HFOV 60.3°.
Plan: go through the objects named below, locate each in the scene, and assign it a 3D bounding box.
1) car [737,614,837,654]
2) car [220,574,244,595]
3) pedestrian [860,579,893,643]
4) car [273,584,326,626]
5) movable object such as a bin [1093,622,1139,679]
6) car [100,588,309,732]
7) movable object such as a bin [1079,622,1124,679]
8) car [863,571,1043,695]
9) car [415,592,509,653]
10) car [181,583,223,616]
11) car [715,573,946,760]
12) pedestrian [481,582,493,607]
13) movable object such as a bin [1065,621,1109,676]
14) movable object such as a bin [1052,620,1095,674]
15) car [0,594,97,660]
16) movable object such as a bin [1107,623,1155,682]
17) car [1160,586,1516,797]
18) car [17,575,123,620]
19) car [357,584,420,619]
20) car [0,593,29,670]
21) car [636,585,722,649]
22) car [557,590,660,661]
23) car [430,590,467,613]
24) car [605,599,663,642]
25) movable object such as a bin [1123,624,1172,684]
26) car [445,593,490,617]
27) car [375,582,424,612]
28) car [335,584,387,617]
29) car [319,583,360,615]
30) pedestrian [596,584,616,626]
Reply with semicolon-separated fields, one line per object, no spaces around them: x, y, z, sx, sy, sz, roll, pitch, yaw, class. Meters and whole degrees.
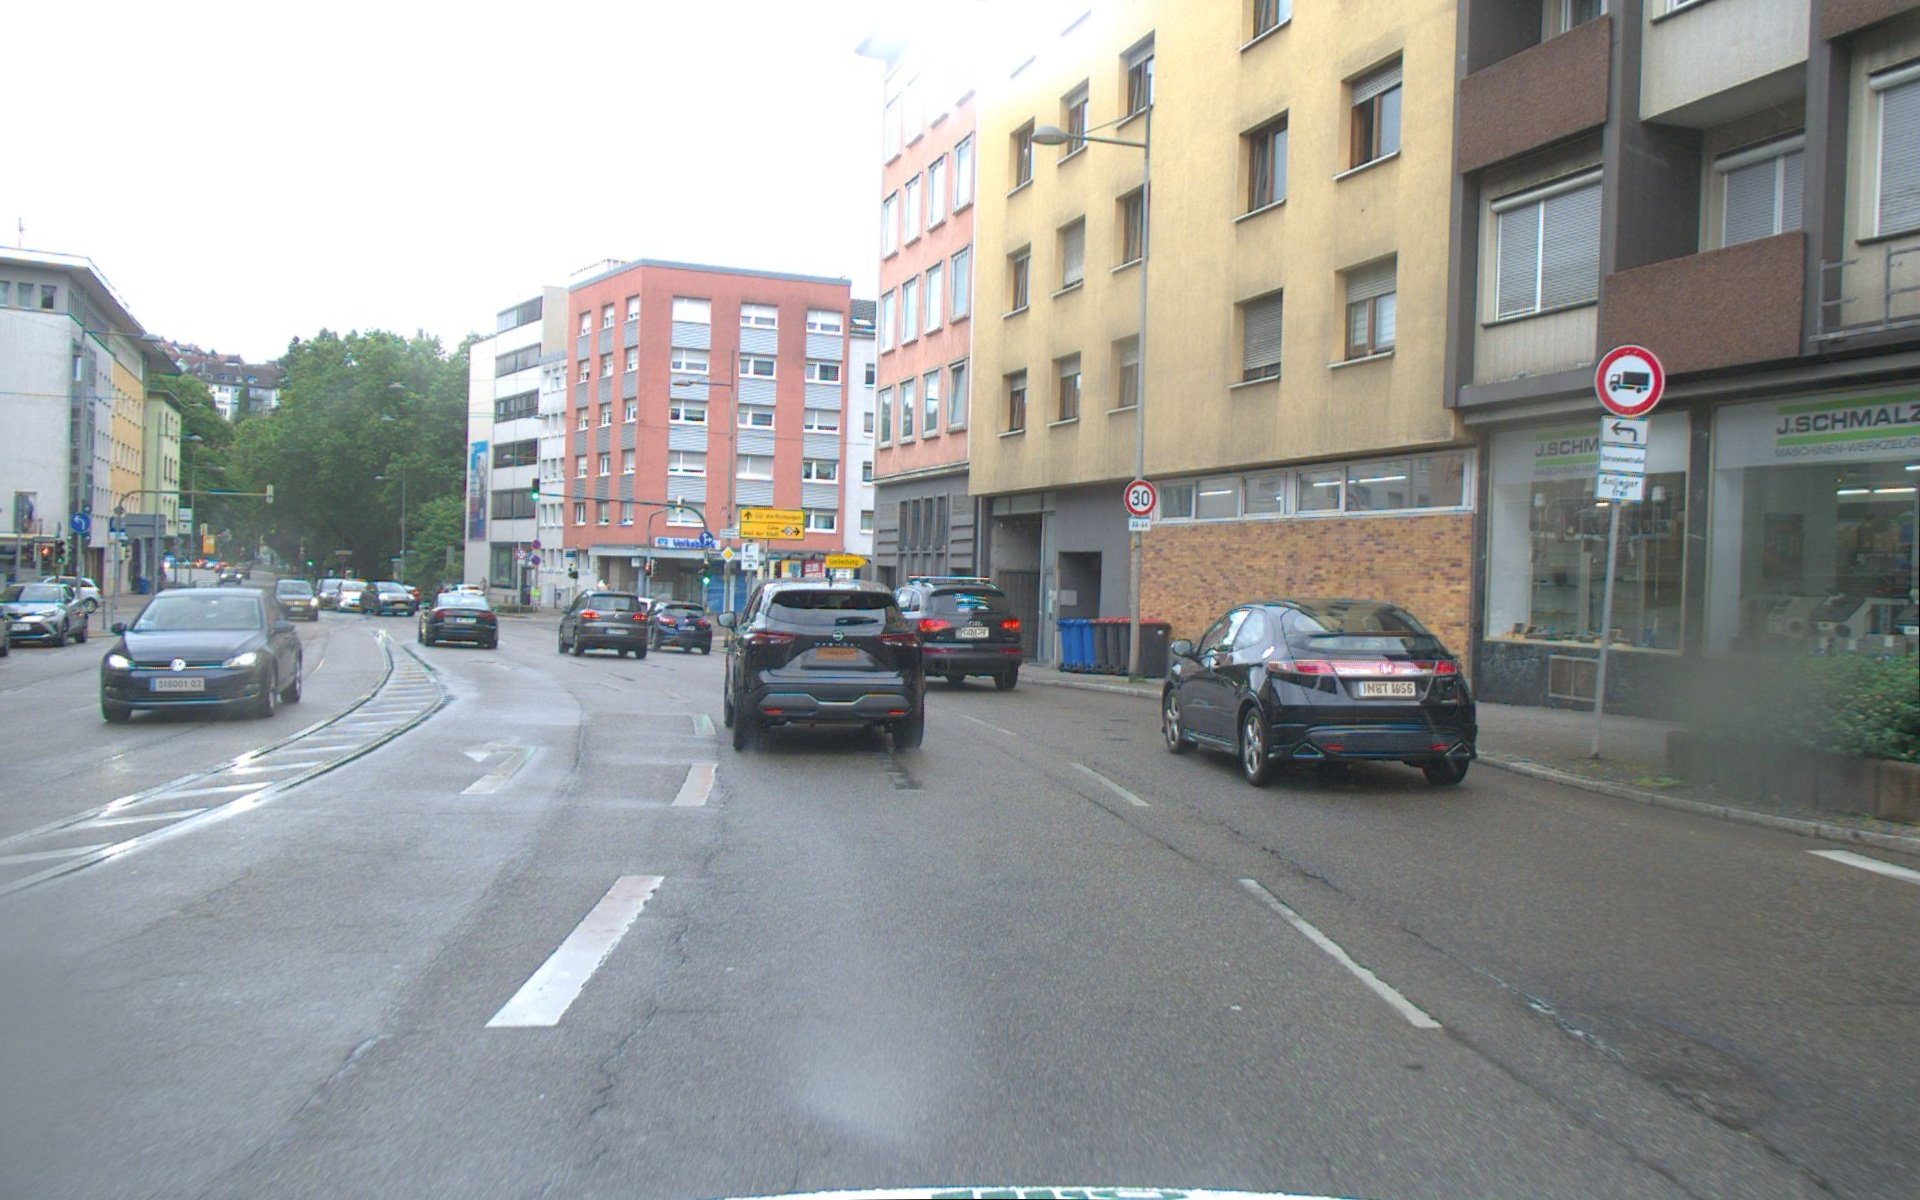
-7.751;1.520;74.003;3.947;1.545;1.979;4;-1;-31;car
-72.388;-1.554;164.508;1.966;1.892;3.973;4;0;-23;car
-2.433;0.324;48.007;0.662;1.819;1.090;2;0;-18;pedestrian
-27.526;0.206;68.864;1.838;1.676;4.221;0;0;-24;car
3.047;0.984;32.325;0.671;1.095;0.664;2;-1;-21;movable object such as a bin
-8.841;0.625;19.653;1.656;1.498;3.982;-1;1;-16;car
2.815;1.000;32.962;0.671;1.095;0.664;2;-1;-21;movable object such as a bin
-0.238;0.491;27.965;1.987;1.902;4.882;0;0;-14;car
-13.644;0.579;45.122;1.966;1.412;4.469;4;0;-22;car
-39.053;-0.042;85.310;1.668;1.655;3.975;0;0;-21;car
-1.439;0.581;16.756;1.861;1.657;3.989;0;0;-12;car
-32.941;-0.375;115.121;0.607;1.767;0.673;0;1;-35;pedestrian
2.579;0.980;33.600;0.671;1.095;0.664;2;-1;-21;movable object such as a bin
2.350;0.978;34.260;0.671;1.095;0.664;2;-1;-21;movable object such as a bin
-23.248;0.644;41.727;1.879;1.581;4.605;0;0;-19;car
3.275;1.007;31.680;0.671;1.095;0.664;2;-1;-21;movable object such as a bin
3.031;0.658;14.170;1.749;1.523;4.051;0;1;-6;car
-38.452;-0.094;71.562;1.646;1.735;4.002;3;0;17;car
-27.061;0.060;78.244;1.840;1.580;4.177;1;0;-34;car
-20.713;0.610;34.255;1.967;1.503;4.486;1;0;-23;car
-8.622;0.485;50.580;1.917;1.848;3.976;0;0;-20;car
-9.015;0.607;42.219;1.919;1.714;3.973;0;0;-22;car
-34.635;0.080;111.939;1.694;1.467;4.046;0;1;-27;car
-12.707;0.772;64.637;1.957;1.512;3.992;4;0;-9;car
3.514;1.007;31.040;0.671;1.095;0.664;2;-1;-21;movable object such as a bin
-31.671;0.318;106.221;1.756;1.425;4.533;0;1;-30;car
-31.927;-0.184;94.198;1.970;1.556;3.964;4;0;-28;car
-30.021;0.026;82.803;1.912;1.553;4.097;1;-1;-28;car
-33.015;-0.031;87.911;1.796;1.636;4.398;1;-1;-23;car
-19.249;0.281;89.970;0.814;2.196;0.764;4;-1;-22;pedestrian
